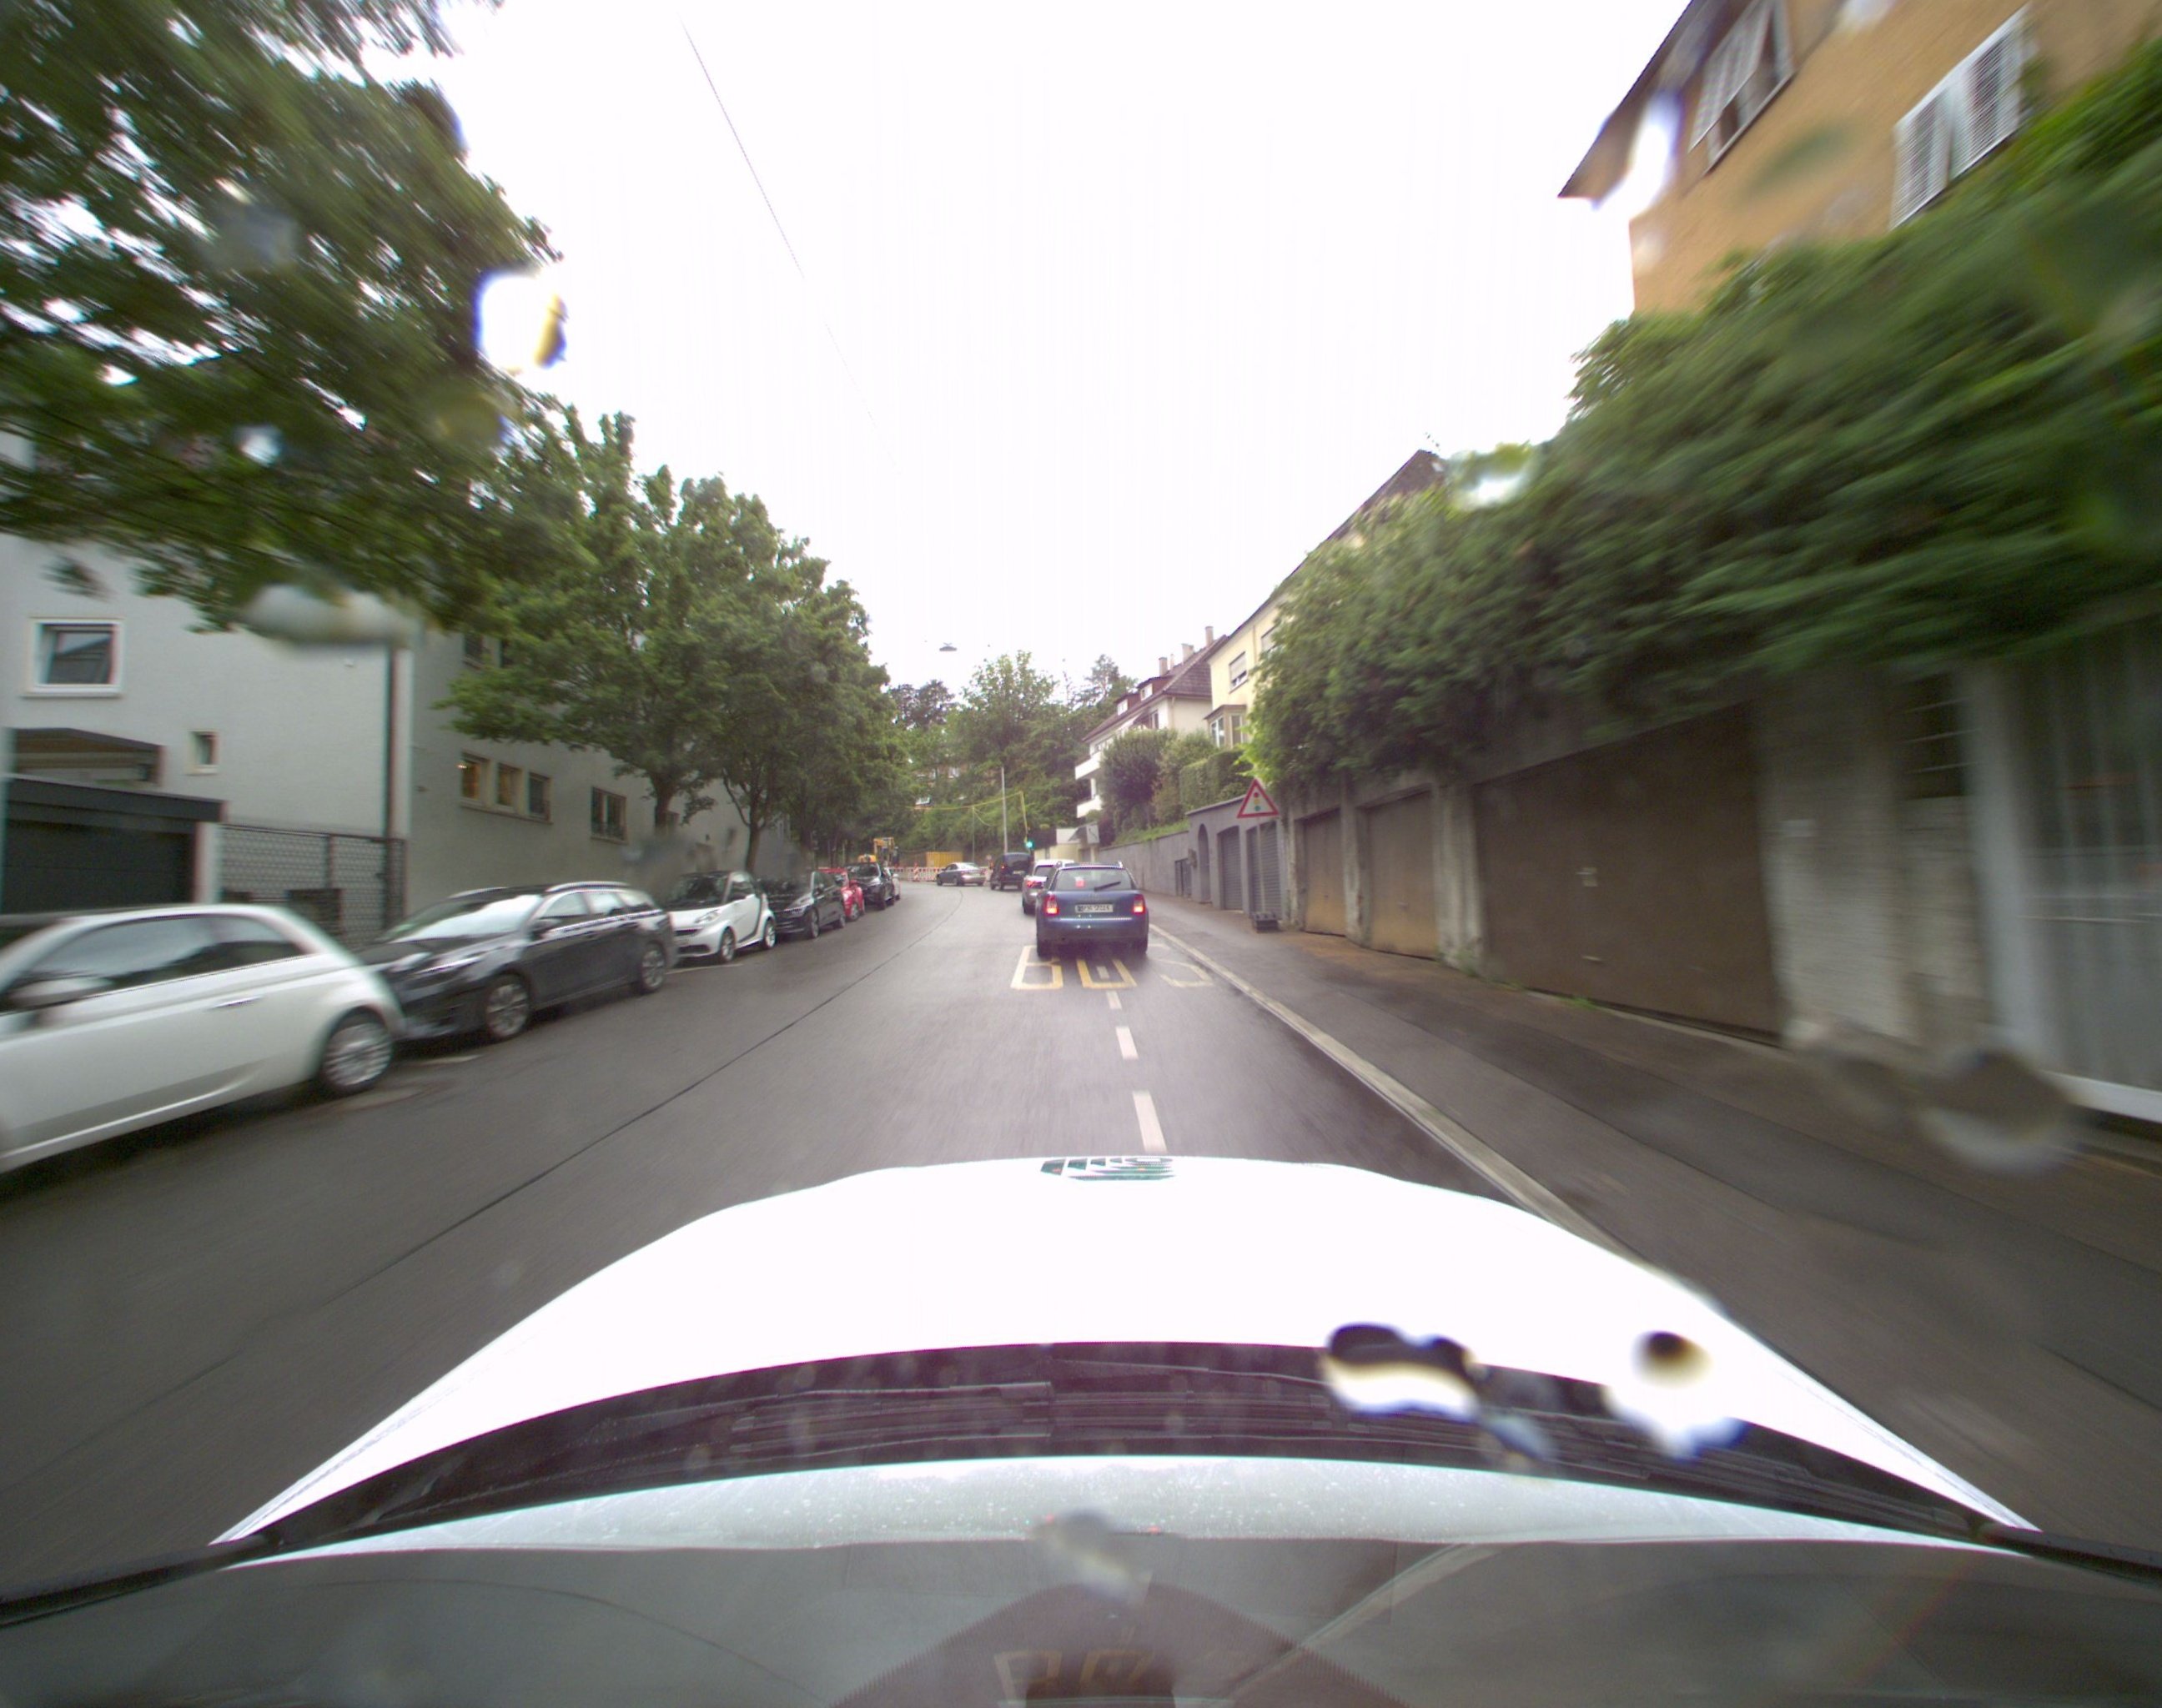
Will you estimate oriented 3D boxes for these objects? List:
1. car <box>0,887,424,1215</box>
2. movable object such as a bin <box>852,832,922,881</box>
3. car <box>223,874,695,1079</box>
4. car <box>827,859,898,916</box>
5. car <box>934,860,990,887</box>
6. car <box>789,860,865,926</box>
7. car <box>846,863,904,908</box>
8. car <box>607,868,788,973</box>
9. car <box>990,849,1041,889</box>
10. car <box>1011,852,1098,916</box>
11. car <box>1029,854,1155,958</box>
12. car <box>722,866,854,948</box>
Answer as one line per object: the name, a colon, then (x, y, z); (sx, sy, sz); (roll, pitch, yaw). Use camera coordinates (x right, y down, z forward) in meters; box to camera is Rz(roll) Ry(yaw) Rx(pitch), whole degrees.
car: (-6.117, 1.093, 4.774); (1.569, 1.488, 3.469); (-6, 0, 0)
movable object such as a bin: (-17.035, 0.216, 71.282); (2.844, 4.014, 7.239); (-1, 0, -41)
car: (-6.252, 1.075, 9.034); (1.659, 1.488, 4.475); (-6, -1, 0)
car: (-7.559, 1.092, 28.531); (1.681, 1.608, 4.564); (-6, 1, -8)
car: (-7.300, 1.202, 49.799); (1.733, 1.486, 4.032); (-3, 0, -34)
car: (-7.131, 1.070, 23.173); (1.635, 1.564, 3.831); (-5, -1, -13)
car: (-8.362, 1.229, 33.452); (1.681, 1.508, 4.304); (-5, 1, -7)
car: (-6.643, 1.078, 14.515); (1.551, 1.510, 3.381); (-5, -1, -1)
car: (-3.305, 0.732, 40.491); (1.995, 1.794, 3.984); (-3, 0, -12)
car: (-0.860, 0.780, 23.311); (1.926, 1.618, 4.306); (-1, 0, -9)
car: (0.118, 0.766, 13.814); (1.781, 1.442, 3.961); (-2, 0, -2)
car: (-6.445, 1.091, 18.385); (1.552, 1.488, 4.093); (-6, -1, -3)
